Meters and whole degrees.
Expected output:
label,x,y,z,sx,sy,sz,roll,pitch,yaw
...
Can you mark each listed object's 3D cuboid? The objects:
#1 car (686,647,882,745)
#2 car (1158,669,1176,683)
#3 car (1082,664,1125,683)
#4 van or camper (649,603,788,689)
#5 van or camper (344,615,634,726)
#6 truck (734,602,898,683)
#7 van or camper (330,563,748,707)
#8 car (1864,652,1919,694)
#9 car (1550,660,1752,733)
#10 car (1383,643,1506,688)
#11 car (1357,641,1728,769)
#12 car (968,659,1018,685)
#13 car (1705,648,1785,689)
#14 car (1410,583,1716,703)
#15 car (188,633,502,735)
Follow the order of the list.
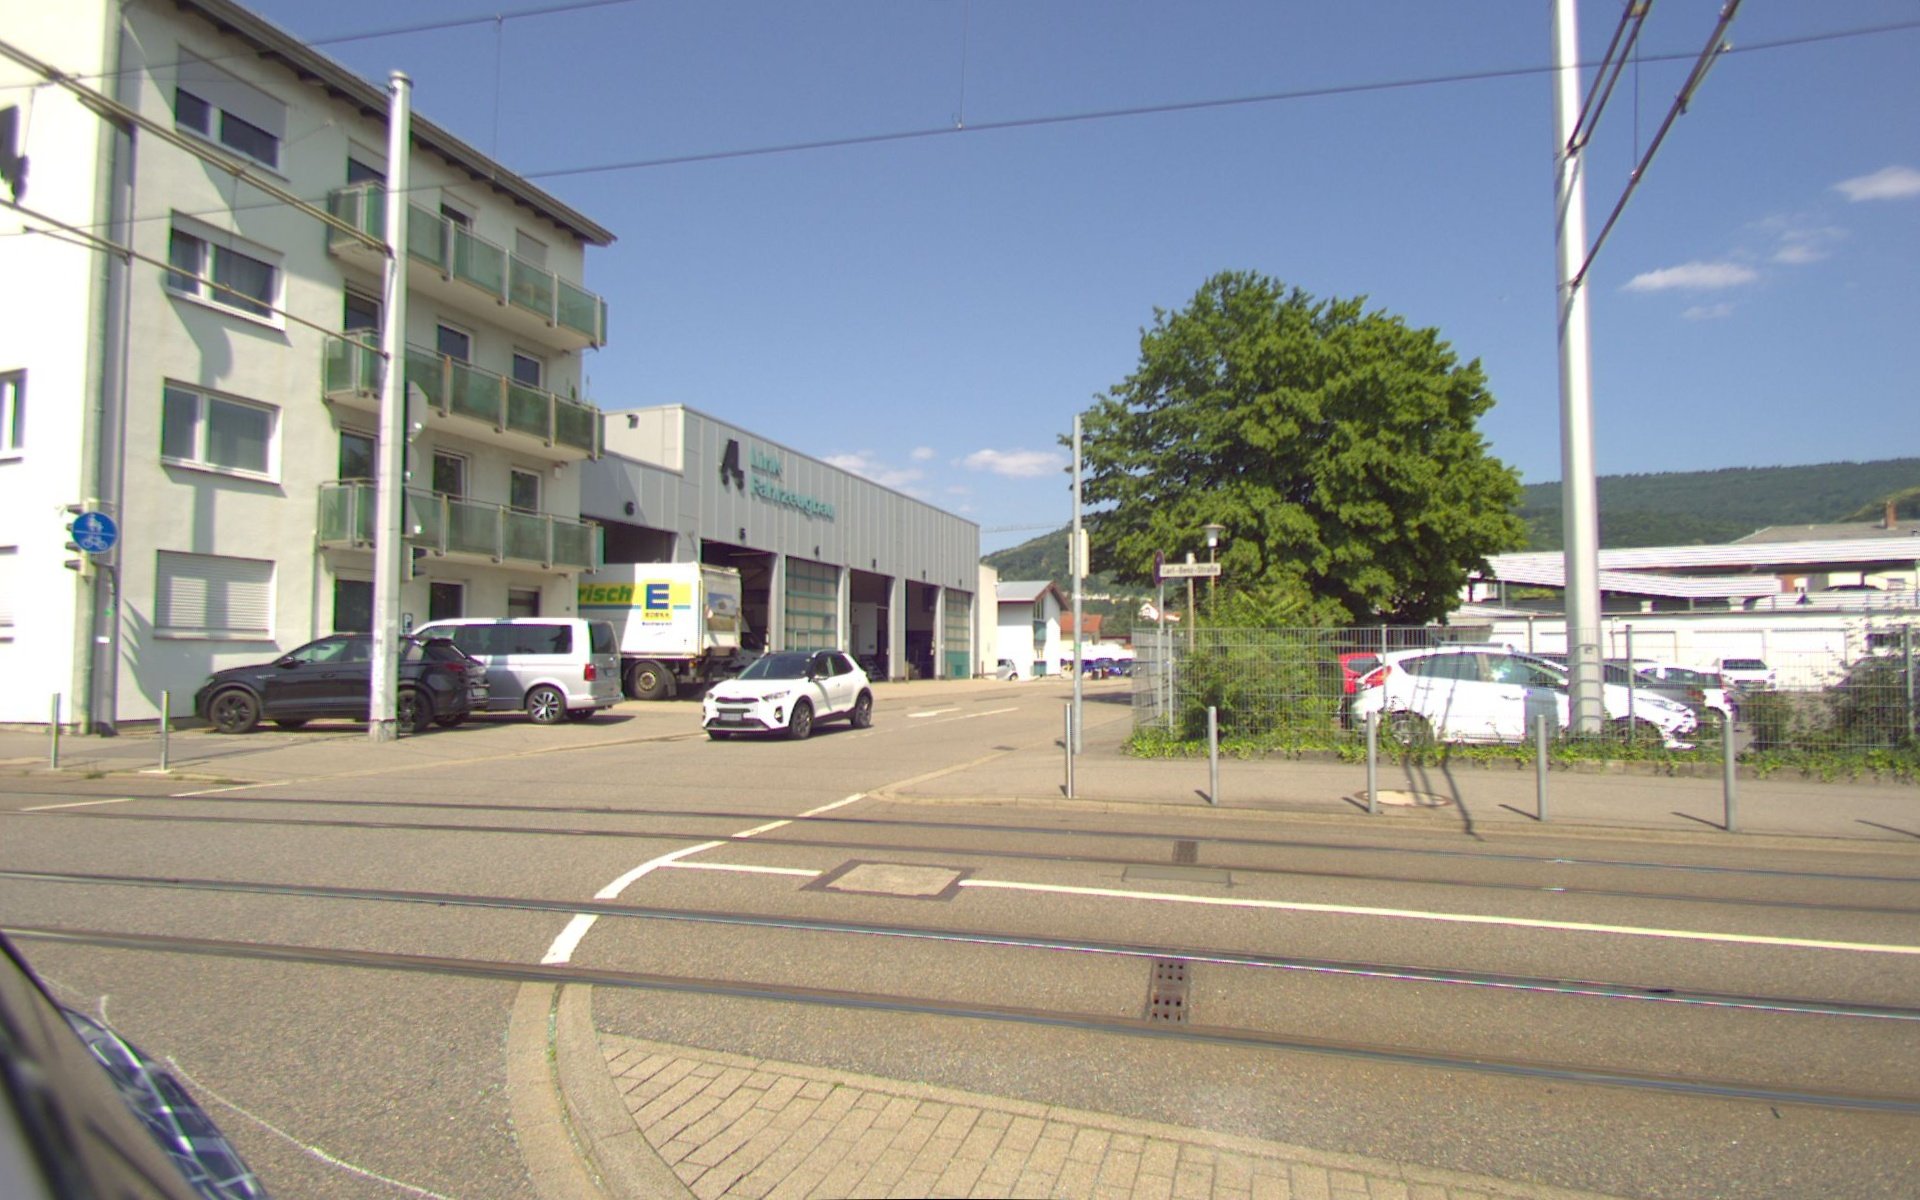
label,x,y,z,sx,sy,sz,roll,pitch,yaw
car,-2.986,1.622,18.102,1.724,1.542,4.083,-1,-3,19
car,21.285,7.781,103.917,1.440,1.389,3.170,-3,-4,16
car,10.625,5.429,74.917,2.956,1.350,1.443,-1,-4,21
van or camper,-9.433,1.825,39.530,5.017,3.230,1.988,-2,-3,18
van or camper,-8.722,1.327,19.085,4.492,1.922,2.000,1,-4,0
truck,-7.185,2.119,50.431,7.804,3.811,2.606,-1,-4,21
van or camper,-11.956,1.021,28.782,11.522,3.721,2.769,-1,-3,13
car,33.902,2.569,35.985,1.994,1.427,3.955,-2,-4,33
car,15.125,2.090,22.361,3.366,1.496,1.506,-1,-4,22
car,17.805,2.405,37.387,3.976,1.567,1.983,-1,-4,25
car,7.287,1.266,13.150,3.928,1.444,1.700,0,-2,22
car,2.021,4.396,61.708,2.774,1.546,1.317,2,-6,-27
car,29.657,2.570,38.332,1.994,1.427,3.955,-2,-4,33
car,9.121,0.648,15.593,3.821,1.633,1.751,-1,-3,30
car,-9.831,1.337,16.474,3.913,1.533,1.882,0,-3,-5
